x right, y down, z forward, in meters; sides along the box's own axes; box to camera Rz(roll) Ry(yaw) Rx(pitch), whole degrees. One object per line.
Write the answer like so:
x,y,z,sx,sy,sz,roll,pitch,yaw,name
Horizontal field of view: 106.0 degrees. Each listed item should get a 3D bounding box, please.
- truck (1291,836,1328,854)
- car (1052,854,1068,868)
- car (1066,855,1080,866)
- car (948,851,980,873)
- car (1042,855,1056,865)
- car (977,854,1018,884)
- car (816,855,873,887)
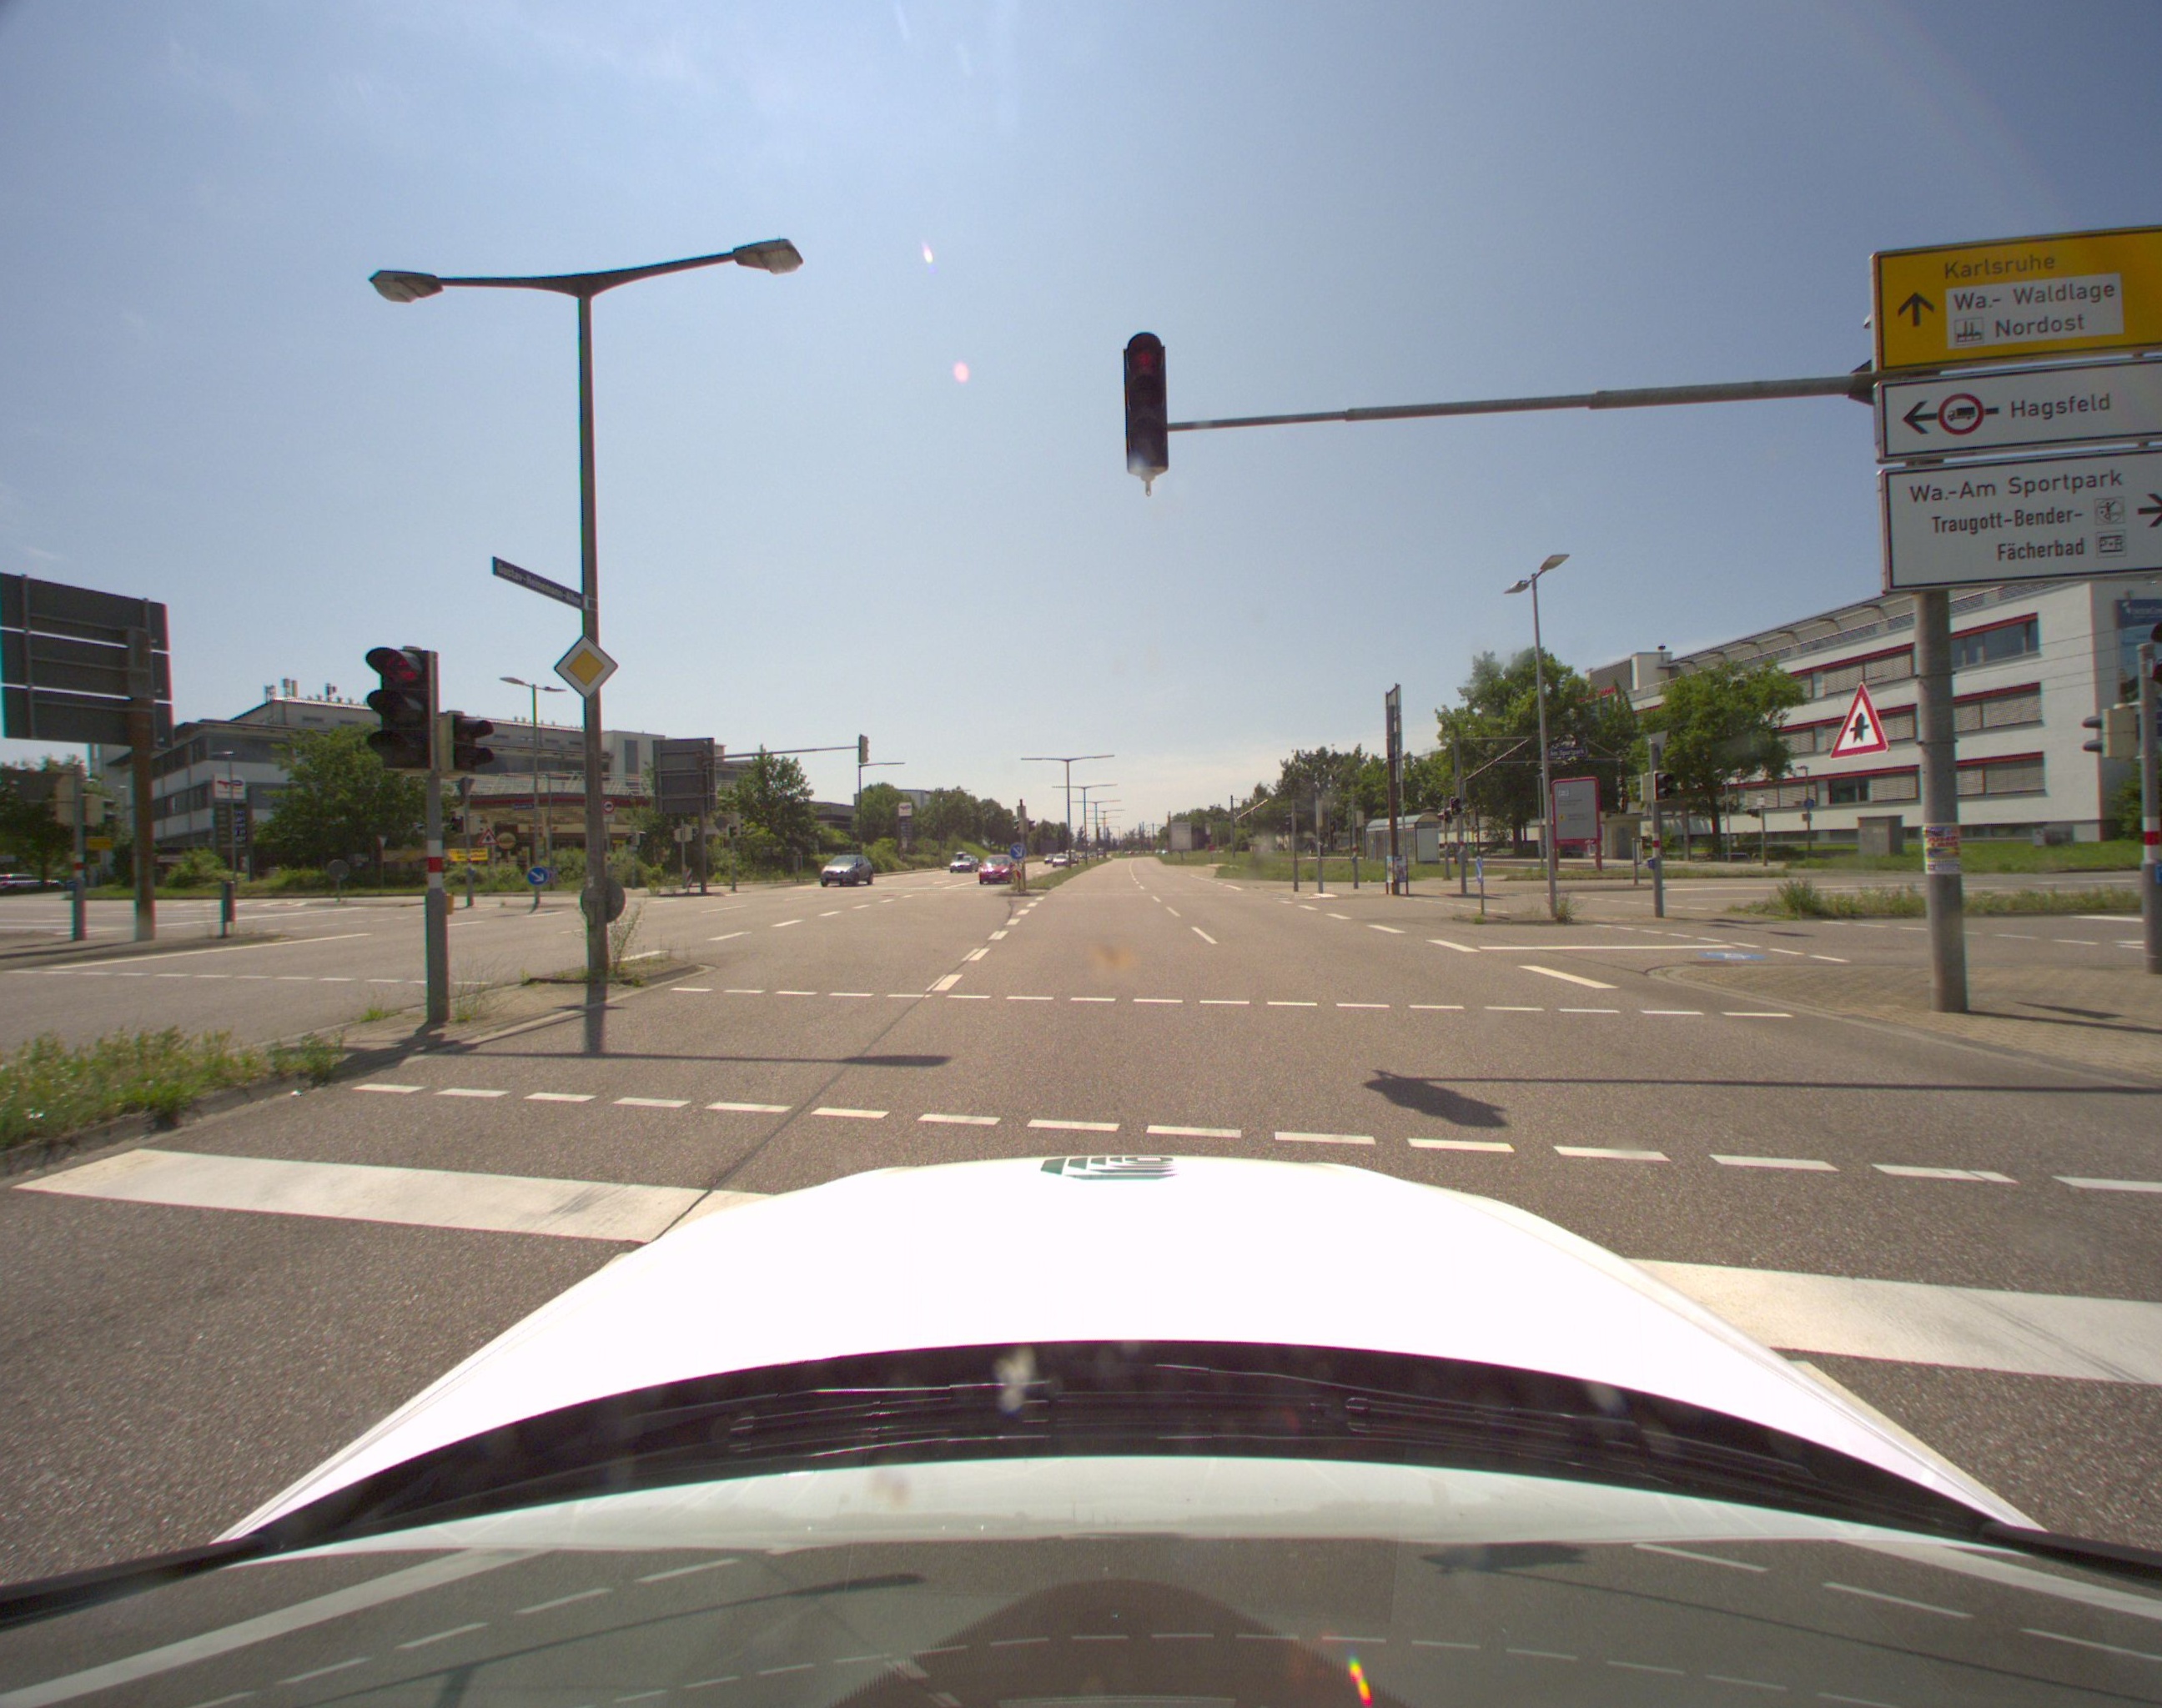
41.175,-1.573,146.942,5.831,2.843,2.316,-3,-1,-5,truck
-2.282,0.749,88.288,1.555,1.423,3.855,-1,1,1,car
-1.001,0.866,106.403,1.669,1.434,4.192,-1,0,2,car
-10.209,0.681,71.399,1.958,1.750,5.023,-2,0,1,car
-4.553,0.834,117.710,1.631,1.429,4.054,-2,0,2,car
-4.395,0.771,43.507,1.652,1.490,4.001,-2,0,1,car
-12.021,0.818,41.676,1.652,1.539,4.001,0,0,1,car
